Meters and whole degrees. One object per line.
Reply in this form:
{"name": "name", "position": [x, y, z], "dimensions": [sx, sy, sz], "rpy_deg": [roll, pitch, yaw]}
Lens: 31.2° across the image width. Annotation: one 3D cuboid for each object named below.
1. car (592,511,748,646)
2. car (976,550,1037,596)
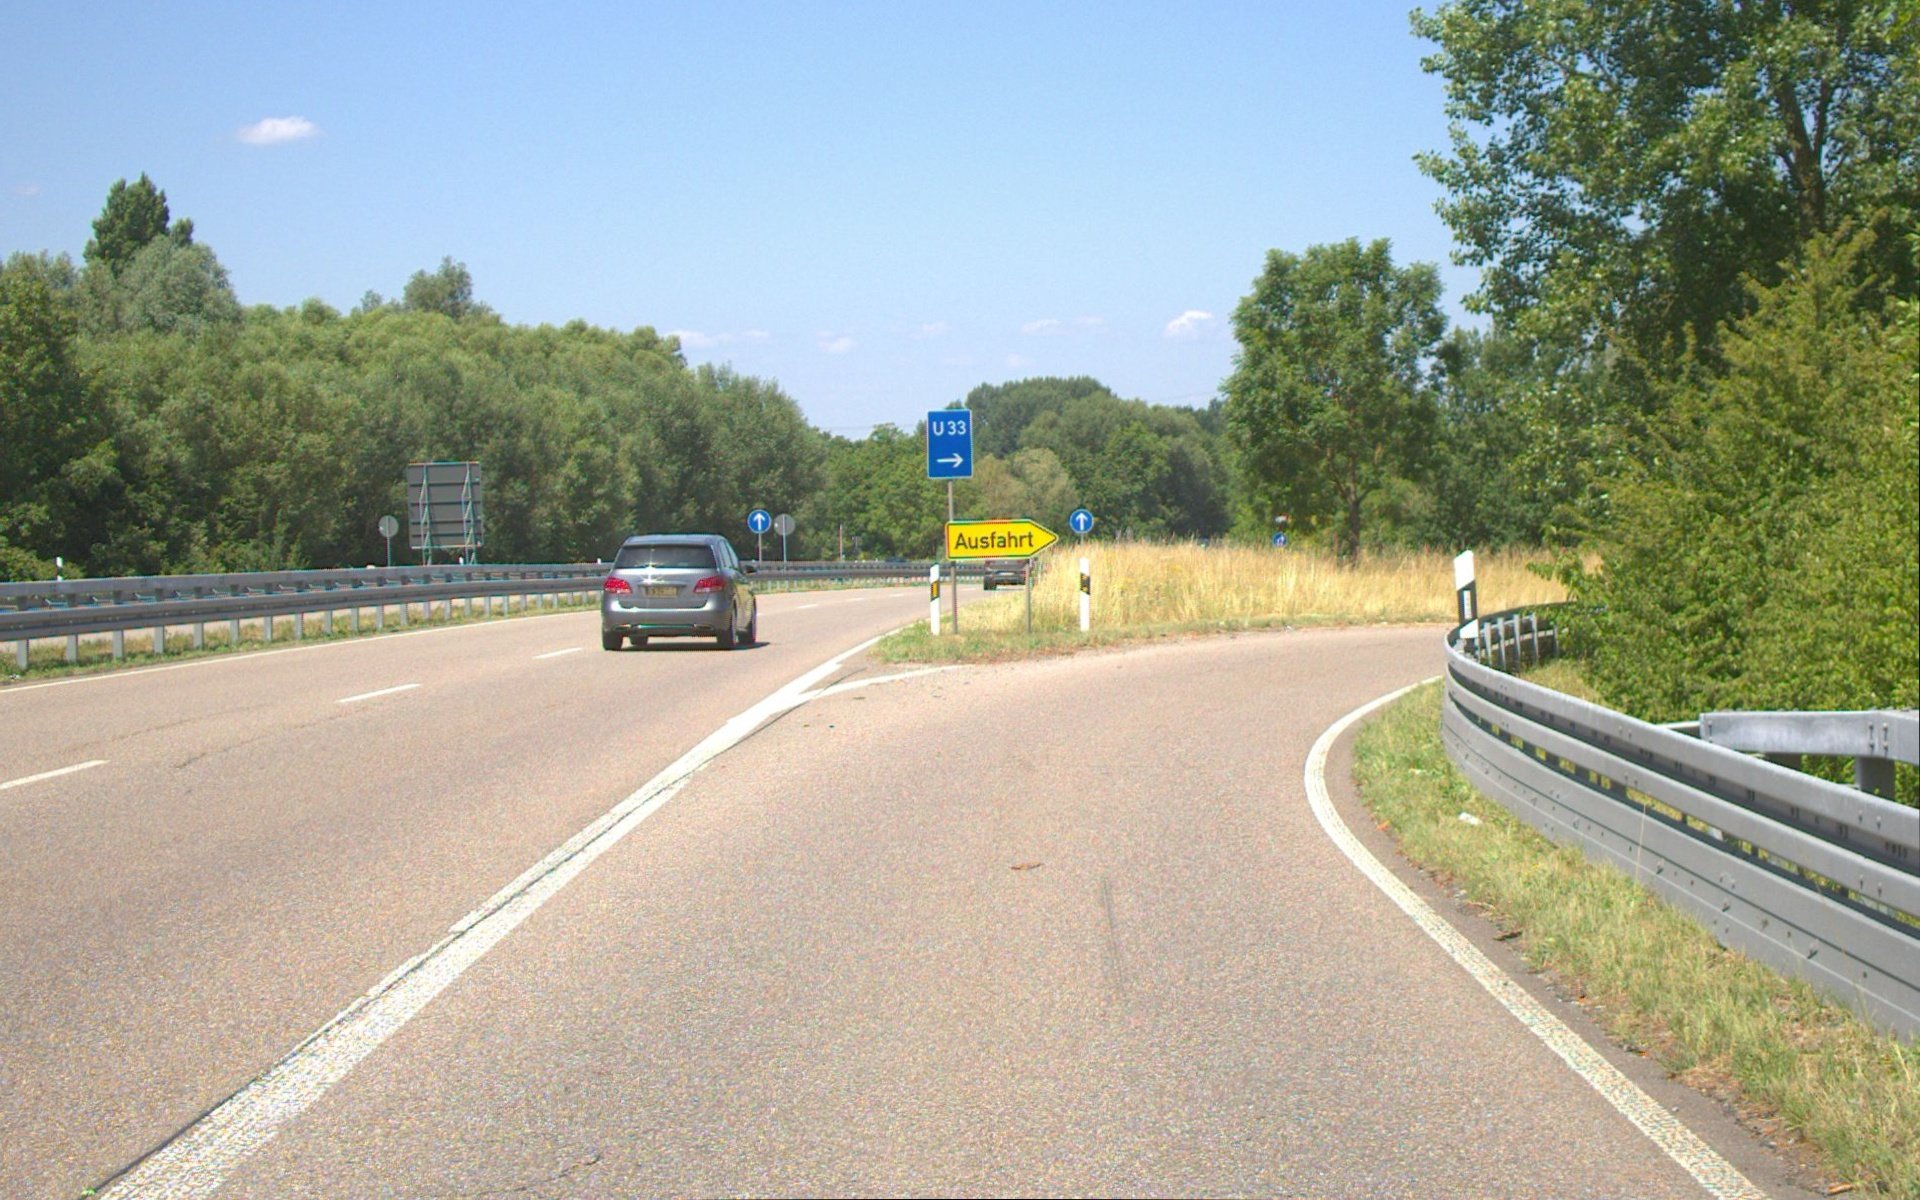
{"name": "car", "position": [-3.948, -0.340, 47.414], "dimensions": [1.793, 1.662, 4.555], "rpy_deg": [1, 3, -1]}
{"name": "car", "position": [1.723, -1.001, 126.122], "dimensions": [1.841, 1.524, 4.469], "rpy_deg": [1, 2, 6]}
